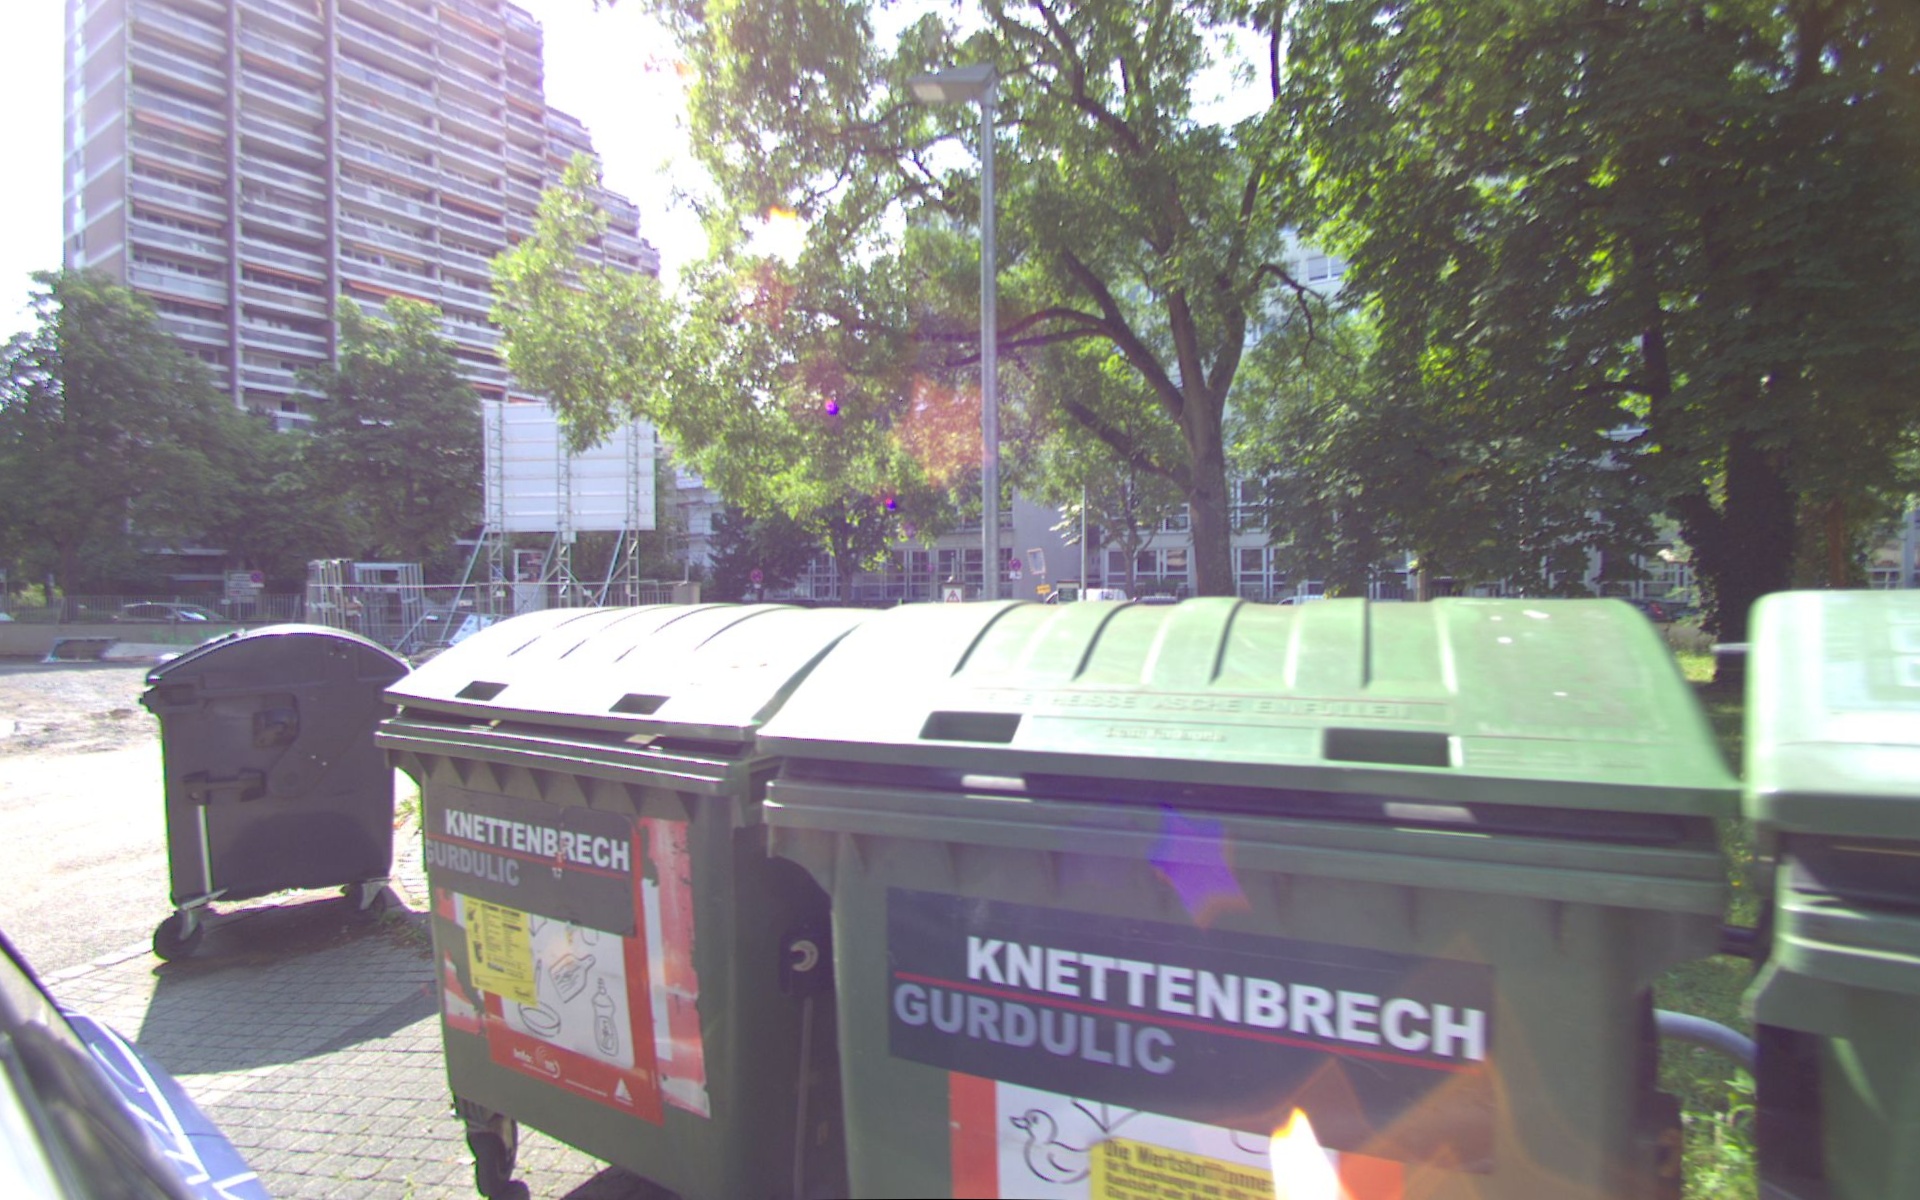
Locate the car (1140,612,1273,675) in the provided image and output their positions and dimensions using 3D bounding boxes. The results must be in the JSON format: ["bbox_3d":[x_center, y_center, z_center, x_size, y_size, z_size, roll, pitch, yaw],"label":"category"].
[{"bbox_3d":[7.130,1.264,29.580,3.543,1.624,1.675,2,-2,8],"label":"car"}]

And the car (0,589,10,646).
[{"bbox_3d":[-37.165,0.549,36.123,5.250,2.029,1.994,1,-1,10],"label":"car"}]

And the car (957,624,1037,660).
[{"bbox_3d":[1.648,1.909,46.450,1.697,1.487,3.793,3,-2,-35],"label":"car"}]

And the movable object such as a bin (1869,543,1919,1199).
[{"bbox_3d":[1.683,0.644,0.829,1.281,1.462,1.212,-2,1,39],"label":"movable object such as a bin"}]

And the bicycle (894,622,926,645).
[{"bbox_3d":[-2.644,1.761,53.969,0.496,1.095,2.030,-2,1,37],"label":"bicycle"}]

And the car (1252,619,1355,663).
[{"bbox_3d":[14.852,1.727,43.913,1.853,1.725,3.767,-3,1,-37],"label":"car"}]

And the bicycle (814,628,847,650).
[{"bbox_3d":[-7.251,2.193,56.840,0.496,1.095,2.030,-2,1,37],"label":"bicycle"}]

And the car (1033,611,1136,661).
[{"bbox_3d":[5.453,1.572,45.023,1.900,1.926,4.655,5,-2,-33],"label":"car"}]

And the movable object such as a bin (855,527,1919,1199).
[{"bbox_3d":[0.658,0.670,1.534,1.225,1.462,1.096,-2,0,20],"label":"movable object such as a bin"}]

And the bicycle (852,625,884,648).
[{"bbox_3d":[-5.027,1.982,55.307,0.496,1.095,2.030,-2,1,37],"label":"bicycle"}]

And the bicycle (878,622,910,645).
[{"bbox_3d":[-3.527,1.789,54.350,0.496,1.095,2.030,-2,1,37],"label":"bicycle"}]

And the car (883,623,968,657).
[{"bbox_3d":[-1.647,1.860,47.129,1.754,1.475,4.244,4,-4,-38],"label":"car"}]

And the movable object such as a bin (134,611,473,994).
[{"bbox_3d":[-3.178,0.829,4.967,1.229,1.493,1.299,-1,1,-34],"label":"movable object such as a bin"}]

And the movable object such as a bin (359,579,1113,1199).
[{"bbox_3d":[-0.499,0.718,2.420,1.339,1.462,1.091,-2,0,33],"label":"movable object such as a bin"}]
